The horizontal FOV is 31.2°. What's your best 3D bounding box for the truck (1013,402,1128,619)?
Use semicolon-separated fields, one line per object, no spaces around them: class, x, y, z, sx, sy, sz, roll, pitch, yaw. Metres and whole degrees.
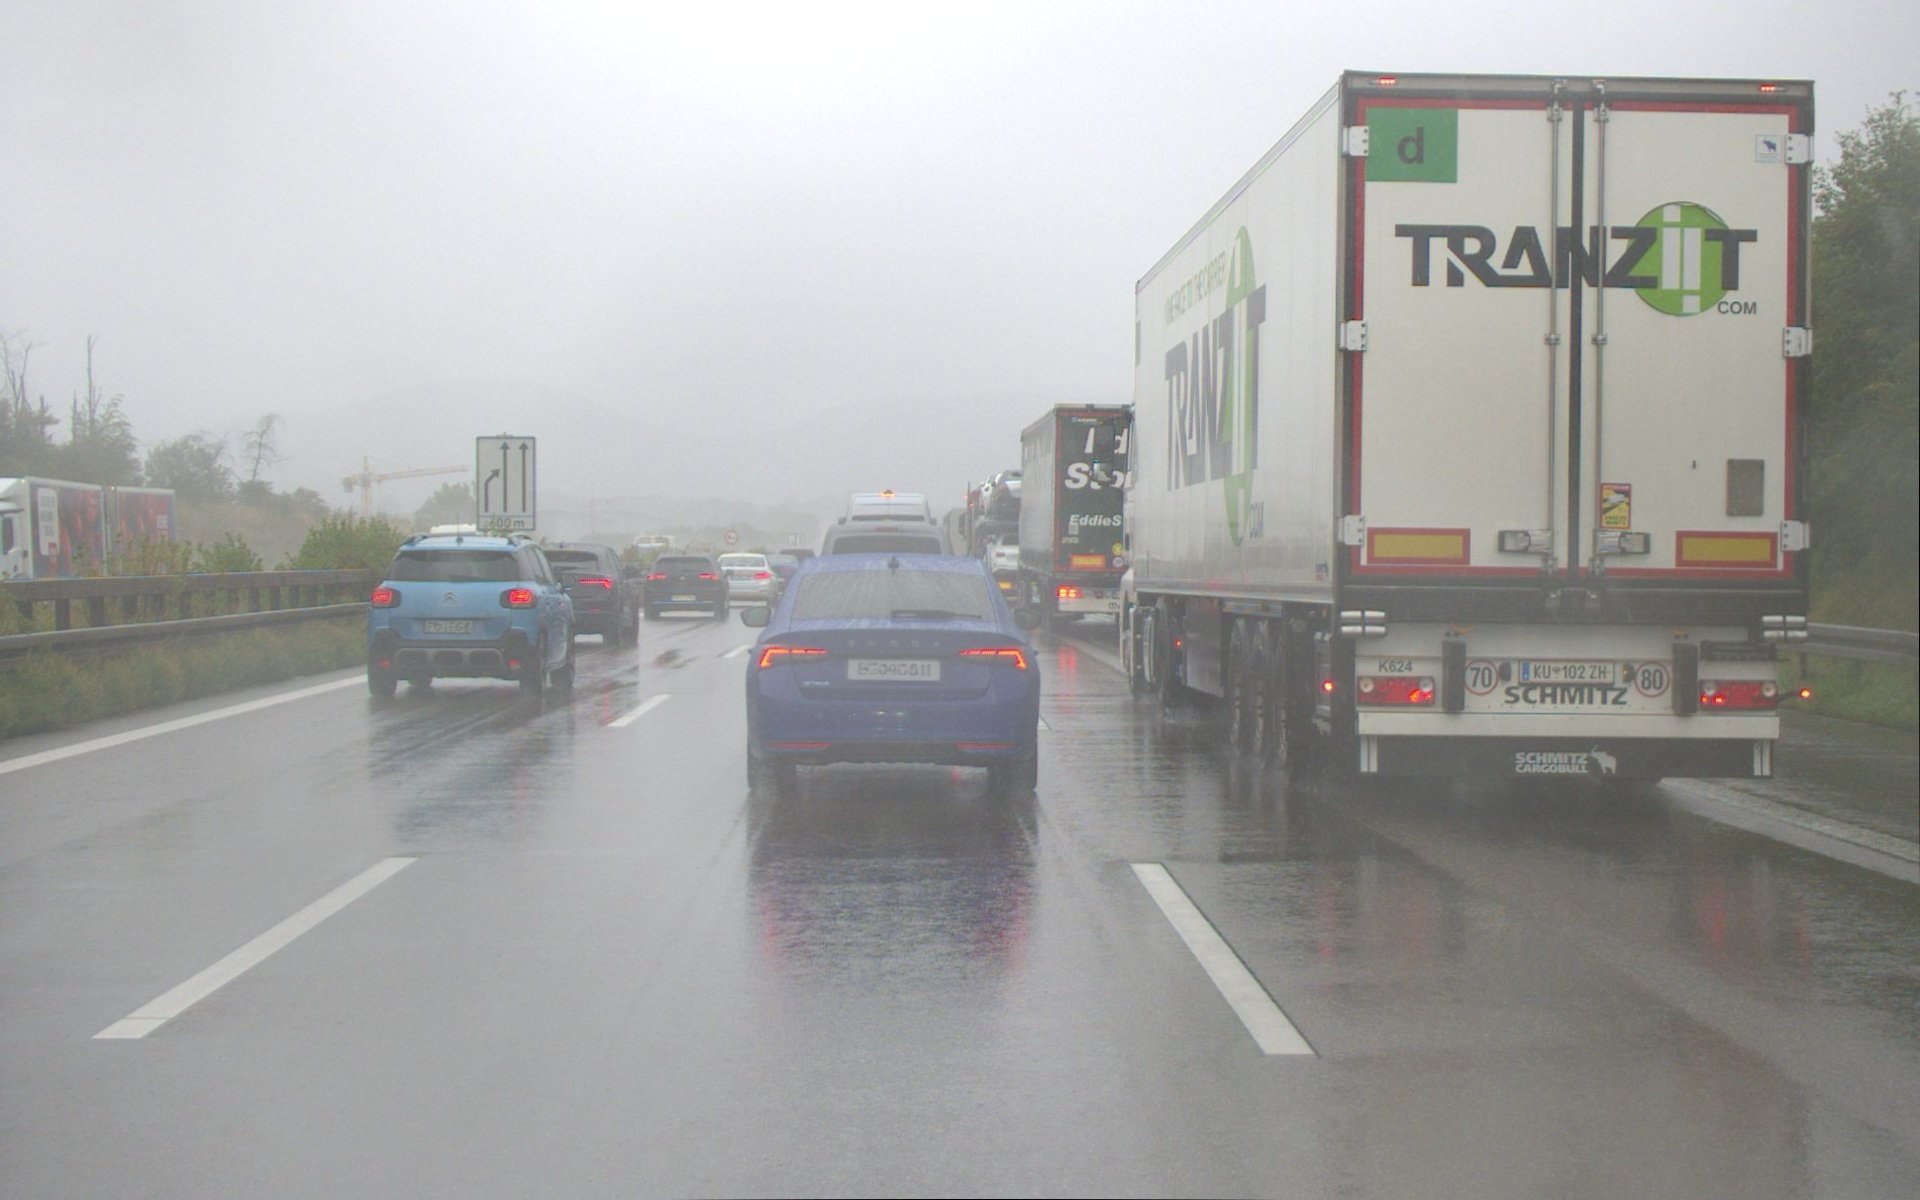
truck;2.156;-1.761;68.190;2.047;4.178;4.000;0;1;-1

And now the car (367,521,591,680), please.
car;-4.825;-0.029;34.978;1.721;1.518;4.000;0;1;0

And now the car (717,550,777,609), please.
car;-5.676;-0.560;91.831;1.439;1.528;3.322;0;1;-1

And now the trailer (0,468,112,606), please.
trailer;-22.047;-1.488;80.947;1.993;3.071;9.556;0;1;-1

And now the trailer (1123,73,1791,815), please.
trailer;3.035;-0.983;25.915;2.630;3.999;14.630;0;1;-1

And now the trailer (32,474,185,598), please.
trailer;-22.235;-1.675;90.183;1.993;3.071;8.873;0;1;-1

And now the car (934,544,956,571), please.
car;-1.014;-2.931;237.723;1.448;1.777;3.409;1;1;-1

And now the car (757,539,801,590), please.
car;-6.482;-1.265;123.262;1.448;1.777;3.409;1;1;-1

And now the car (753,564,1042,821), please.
car;-0.367;0.504;21.515;1.635;1.440;4.000;0;1;0

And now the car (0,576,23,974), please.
car;-4.248;0.640;10.240;1.718;1.395;4.230;0;1;1

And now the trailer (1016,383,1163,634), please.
trailer;2.246;-1.638;62.905;2.047;4.162;11.449;0;1;-1

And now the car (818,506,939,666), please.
car;-0.937;-0.188;39.875;1.336;1.773;3.322;0;1;-1

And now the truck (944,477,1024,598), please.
truck;0.662;-1.877;101.357;1.993;3.410;8.033;0;1;-2

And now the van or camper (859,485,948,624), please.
van or camper;-1.185;-0.966;72.046;1.797;2.797;4.768;0;1;-1

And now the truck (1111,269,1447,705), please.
truck;2.901;-1.035;32.550;2.630;3.814;4.791;0;1;-1

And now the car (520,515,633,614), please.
car;-5.707;-0.546;51.446;1.359;1.426;3.364;0;1;-1

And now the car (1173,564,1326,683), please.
car;3.325;0.247;39.942;1.423;1.284;3.461;0;1;-1

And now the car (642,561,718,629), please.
car;-6.064;-0.124;74.665;1.439;1.415;3.322;0;1;-1

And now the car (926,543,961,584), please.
car;-0.706;-1.582;149.067;1.448;1.777;3.409;1;1;-1
